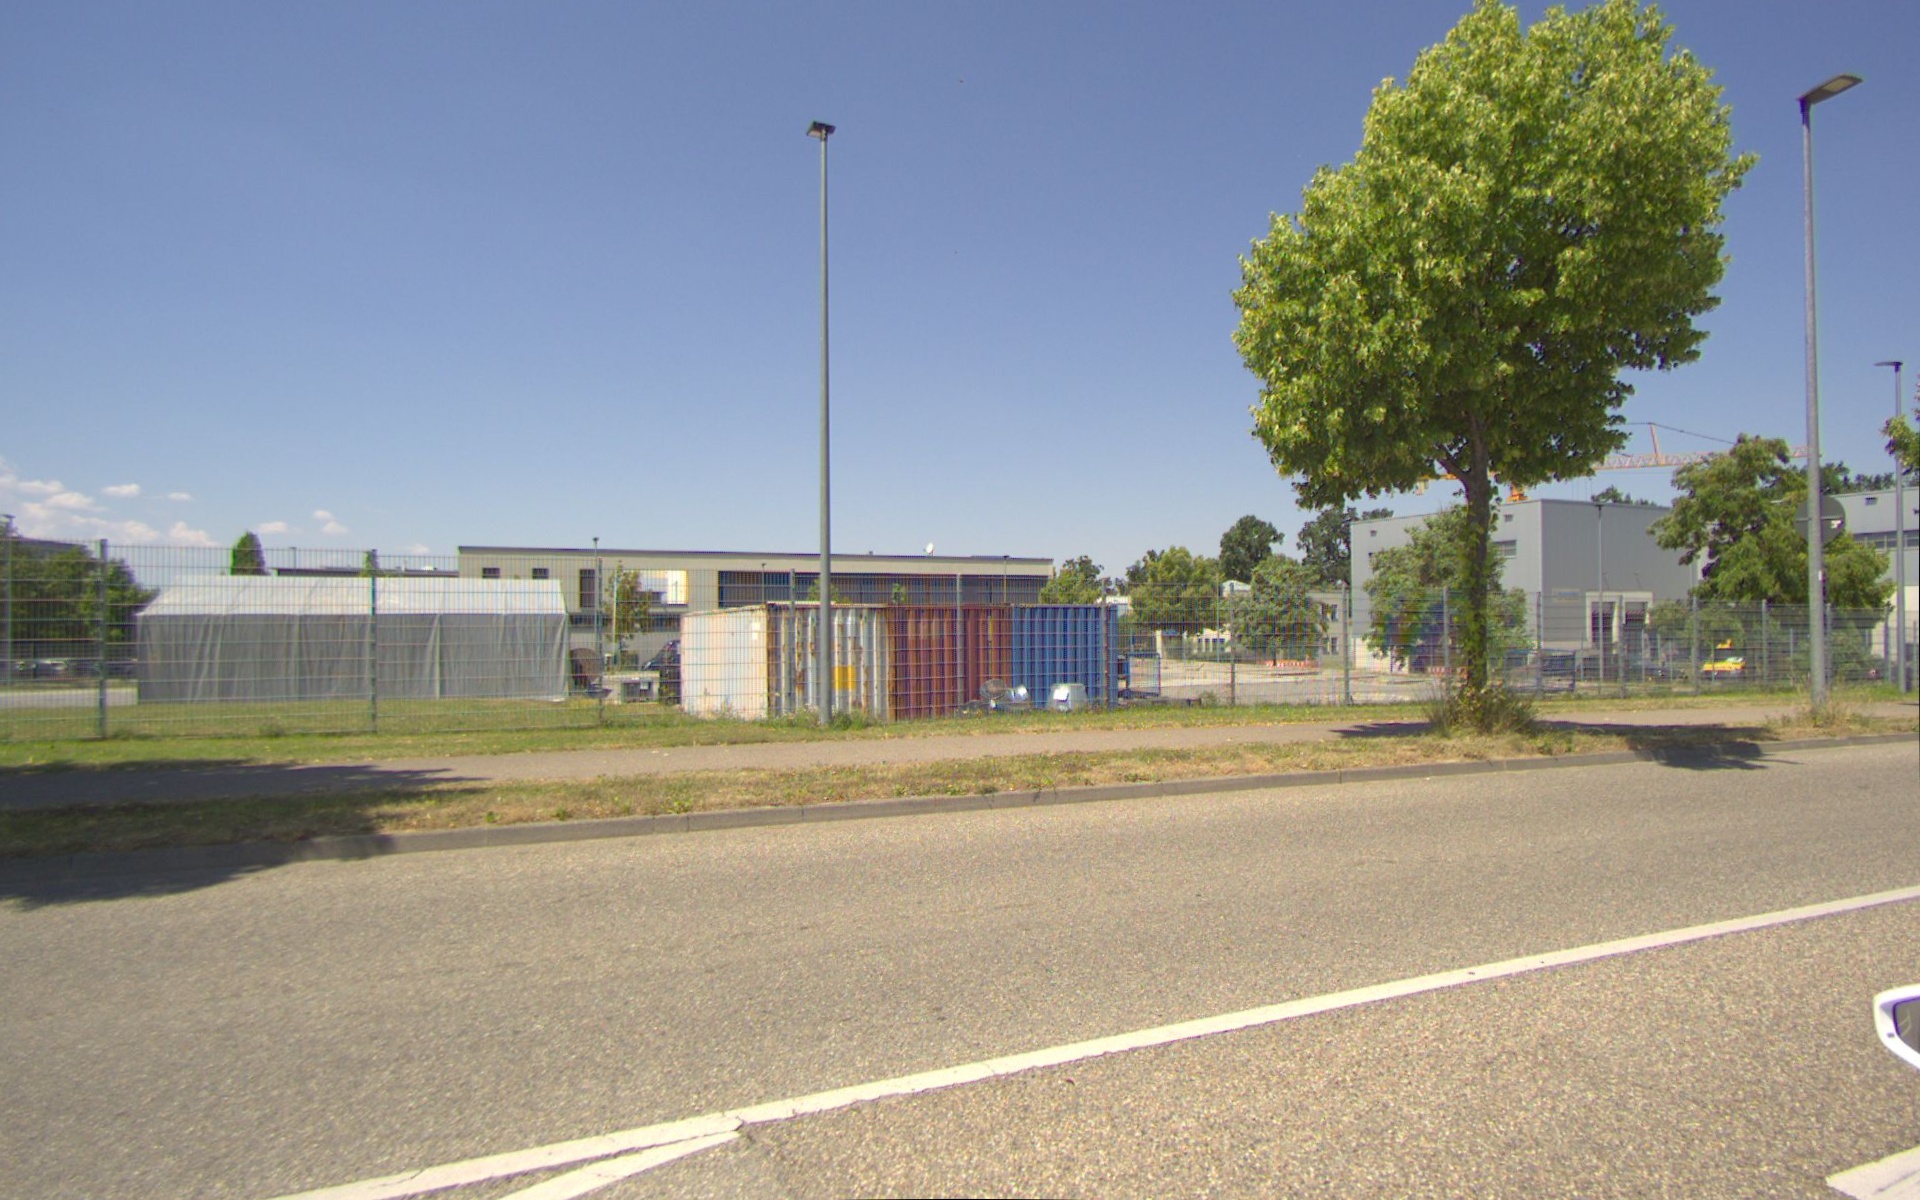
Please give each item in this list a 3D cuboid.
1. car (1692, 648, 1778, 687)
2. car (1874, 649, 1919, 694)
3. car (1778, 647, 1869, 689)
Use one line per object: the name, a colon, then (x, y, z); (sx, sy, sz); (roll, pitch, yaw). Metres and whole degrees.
car: (38.428, 3.331, 49.802); (3.953, 1.572, 1.985); (-3, -2, -31)
car: (40.481, 2.981, 42.180); (3.953, 1.572, 1.985); (-3, -2, -31)
car: (39.992, 3.132, 46.508); (3.953, 1.572, 1.985); (-3, -2, -31)
